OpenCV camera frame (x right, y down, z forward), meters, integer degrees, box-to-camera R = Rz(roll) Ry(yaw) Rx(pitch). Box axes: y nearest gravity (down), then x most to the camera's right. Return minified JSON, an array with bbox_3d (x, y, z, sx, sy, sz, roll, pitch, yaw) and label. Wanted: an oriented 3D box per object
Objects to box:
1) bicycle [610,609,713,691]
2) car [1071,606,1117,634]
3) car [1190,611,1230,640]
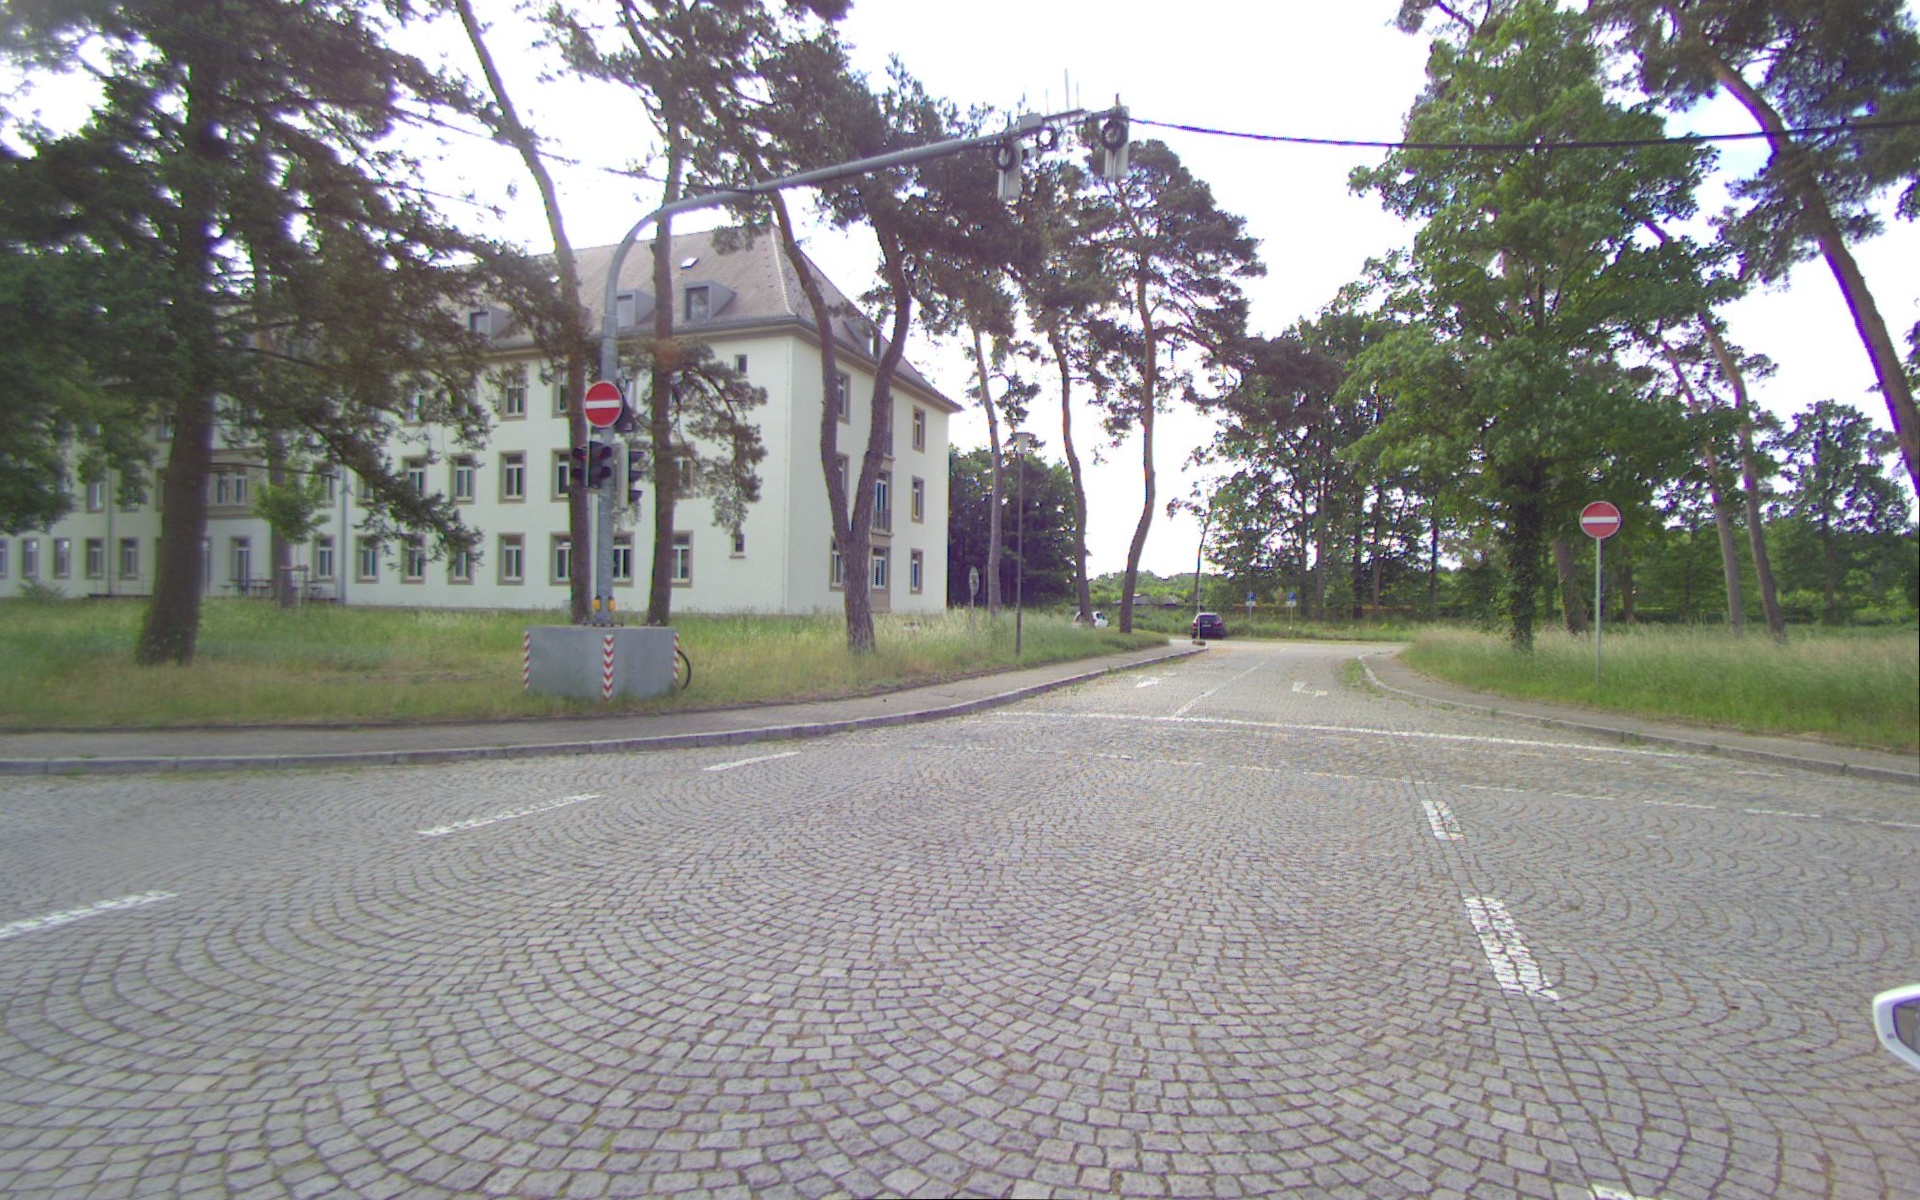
[{"bbox_3d":[-4.302,0.703,14.480,1.388,1.089,0.498,1,3,18],"label":"bicycle"},{"bbox_3d":[8.516,1.254,63.545,1.684,1.632,4.054,3,1,25],"label":"car"},{"bbox_3d":[15.030,1.501,60.272,1.684,1.632,4.056,3,1,23],"label":"car"}]
